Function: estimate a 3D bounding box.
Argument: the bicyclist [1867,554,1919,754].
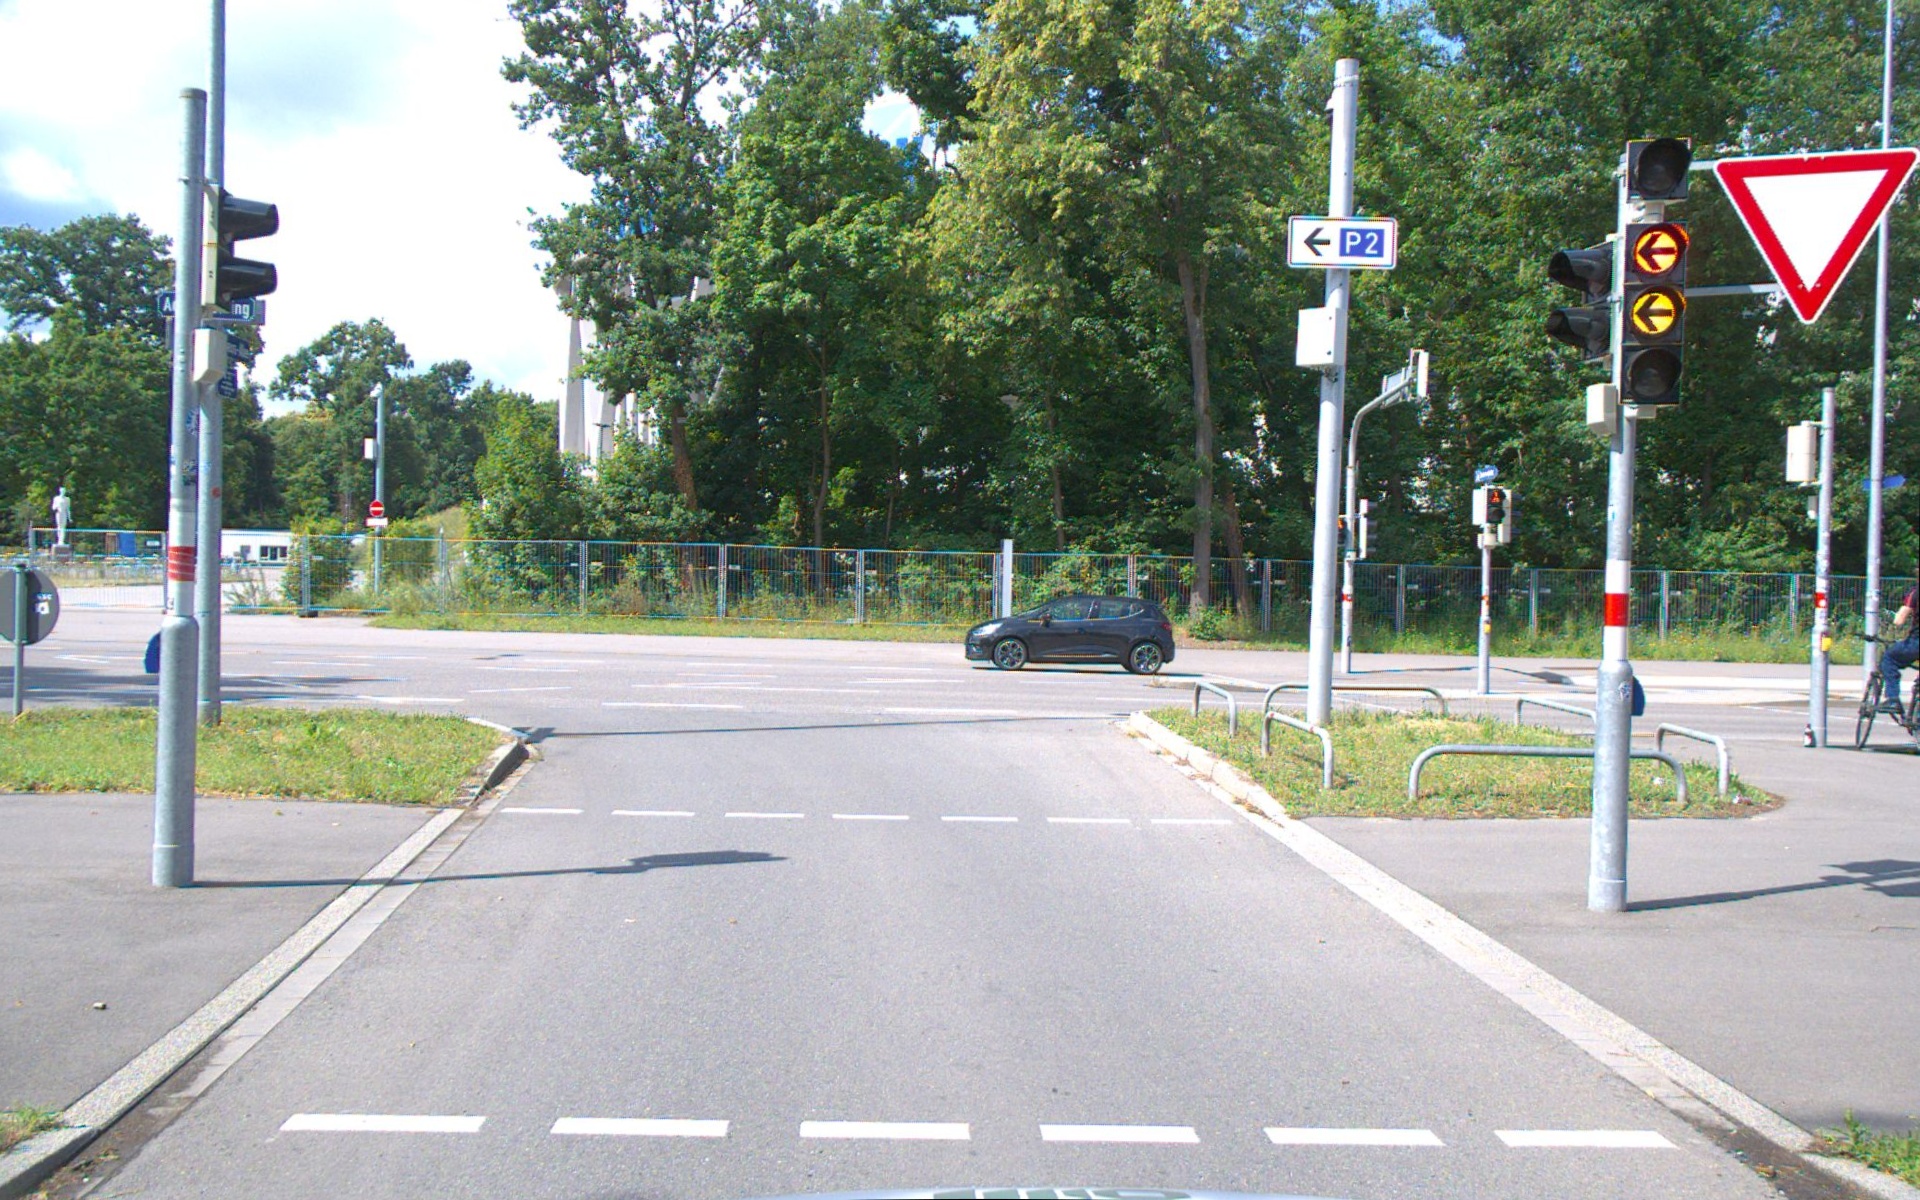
[{"bbox_3d":[9.217,0.507,15.585,0.866,1.829,0.979,1,-1,7],"label":"bicyclist"}]

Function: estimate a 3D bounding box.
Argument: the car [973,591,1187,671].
[{"bbox_3d":[2.220,0.572,31.276,3.882,1.402,1.602,1,0,-1],"label":"car"}]

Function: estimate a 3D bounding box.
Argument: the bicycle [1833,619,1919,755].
[{"bbox_3d":[9.236,0.813,15.908,0.862,1.227,1.899,2,0,8],"label":"bicycle"}]
